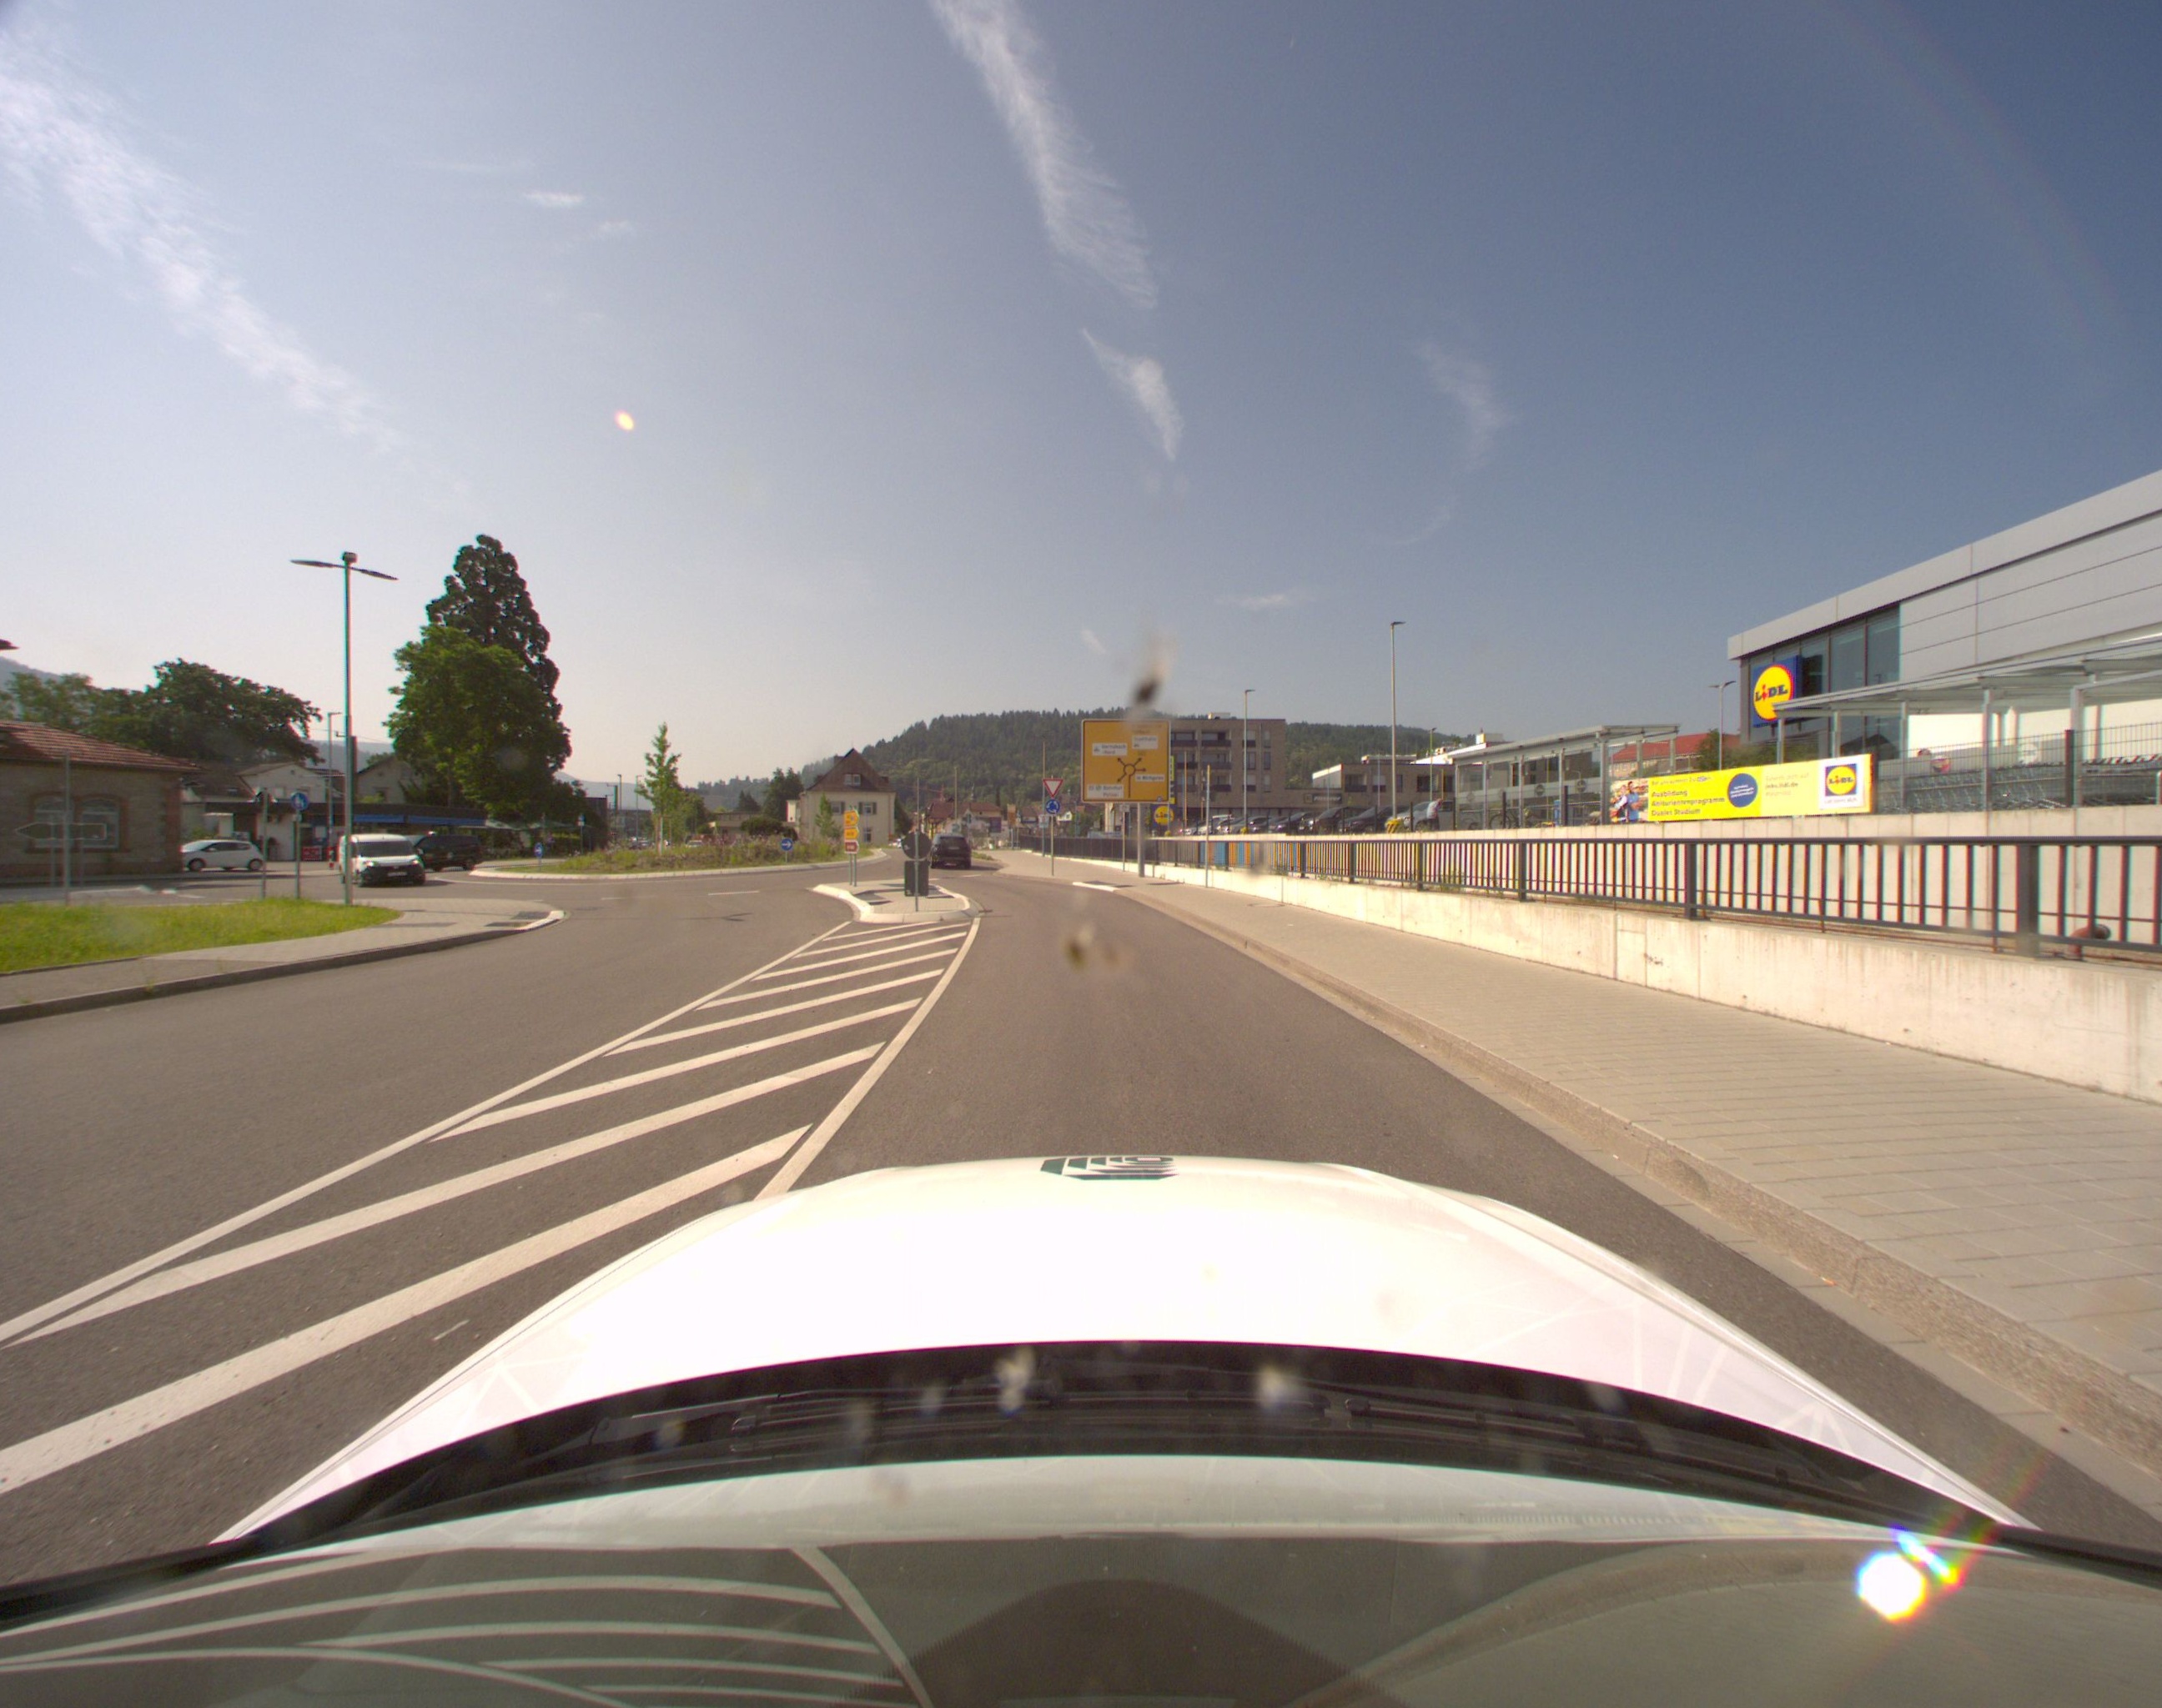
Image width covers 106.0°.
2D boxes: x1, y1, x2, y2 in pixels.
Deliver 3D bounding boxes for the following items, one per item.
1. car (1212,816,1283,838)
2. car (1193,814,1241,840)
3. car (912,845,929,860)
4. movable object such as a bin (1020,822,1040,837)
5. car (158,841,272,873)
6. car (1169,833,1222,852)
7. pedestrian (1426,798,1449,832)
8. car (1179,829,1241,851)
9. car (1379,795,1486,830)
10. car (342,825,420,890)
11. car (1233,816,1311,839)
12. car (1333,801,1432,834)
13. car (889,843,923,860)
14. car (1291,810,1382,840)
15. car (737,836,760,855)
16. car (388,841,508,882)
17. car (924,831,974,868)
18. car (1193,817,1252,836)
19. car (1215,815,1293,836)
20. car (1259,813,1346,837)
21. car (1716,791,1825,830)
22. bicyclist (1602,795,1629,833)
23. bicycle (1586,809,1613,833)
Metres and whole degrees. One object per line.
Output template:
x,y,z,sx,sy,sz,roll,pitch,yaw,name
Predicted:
10.413,-1.668,51.062,4.041,1.342,1.653,0,1,-14,car
11.694,-2.309,70.302,3.965,2.136,2.004,-1,0,7,car
-22.847,-0.250,115.626,1.998,2.013,3.977,-1,0,-17,car
-6.475,-3.122,102.957,2.439,1.844,1.426,-1,0,-5,movable object such as a bin
-41.092,0.168,38.749,1.381,1.450,3.543,0,-1,6,car
8.440,-0.852,60.080,3.560,1.430,1.703,0,1,-14,car
13.991,-1.535,31.952,0.547,1.312,0.654,-1,0,-11,pedestrian
9.085,-1.006,57.498,4.058,1.487,1.710,0,1,-11,car
14.365,-1.670,33.319,3.811,1.364,1.673,0,1,-14,car
-25.791,0.040,29.936,1.823,2.077,4.548,-2,5,-45,car
10.868,-1.503,46.411,3.972,1.245,1.722,0,1,-14,car
13.495,-1.621,36.535,4.067,1.404,1.479,0,1,-14,car
-21.134,-0.344,98.434,1.976,2.013,4.021,-1,0,22,car
12.615,-1.422,40.217,4.011,1.404,1.717,0,1,-14,car
-36.105,-0.986,88.414,1.813,2.013,3.979,-1,1,-16,car
-32.232,0.331,41.689,1.828,1.946,4.895,-1,0,9,car
-6.406,-0.203,39.182,1.885,1.684,3.977,-1,0,-17,car
9.491,-1.834,54.727,3.560,1.199,1.707,0,1,-14,car
10.390,-1.688,48.980,4.284,1.245,1.656,0,1,-14,car
11.824,-1.546,43.512,4.219,1.245,1.736,0,1,-14,car
31.972,-1.984,37.884,1.619,1.652,3.693,-1,0,-11,car
20.538,-1.534,31.293,0.432,1.423,0.719,-1,0,-19,bicyclist
20.348,-1.299,31.970,0.534,0.900,0.674,-1,0,-19,bicycle
